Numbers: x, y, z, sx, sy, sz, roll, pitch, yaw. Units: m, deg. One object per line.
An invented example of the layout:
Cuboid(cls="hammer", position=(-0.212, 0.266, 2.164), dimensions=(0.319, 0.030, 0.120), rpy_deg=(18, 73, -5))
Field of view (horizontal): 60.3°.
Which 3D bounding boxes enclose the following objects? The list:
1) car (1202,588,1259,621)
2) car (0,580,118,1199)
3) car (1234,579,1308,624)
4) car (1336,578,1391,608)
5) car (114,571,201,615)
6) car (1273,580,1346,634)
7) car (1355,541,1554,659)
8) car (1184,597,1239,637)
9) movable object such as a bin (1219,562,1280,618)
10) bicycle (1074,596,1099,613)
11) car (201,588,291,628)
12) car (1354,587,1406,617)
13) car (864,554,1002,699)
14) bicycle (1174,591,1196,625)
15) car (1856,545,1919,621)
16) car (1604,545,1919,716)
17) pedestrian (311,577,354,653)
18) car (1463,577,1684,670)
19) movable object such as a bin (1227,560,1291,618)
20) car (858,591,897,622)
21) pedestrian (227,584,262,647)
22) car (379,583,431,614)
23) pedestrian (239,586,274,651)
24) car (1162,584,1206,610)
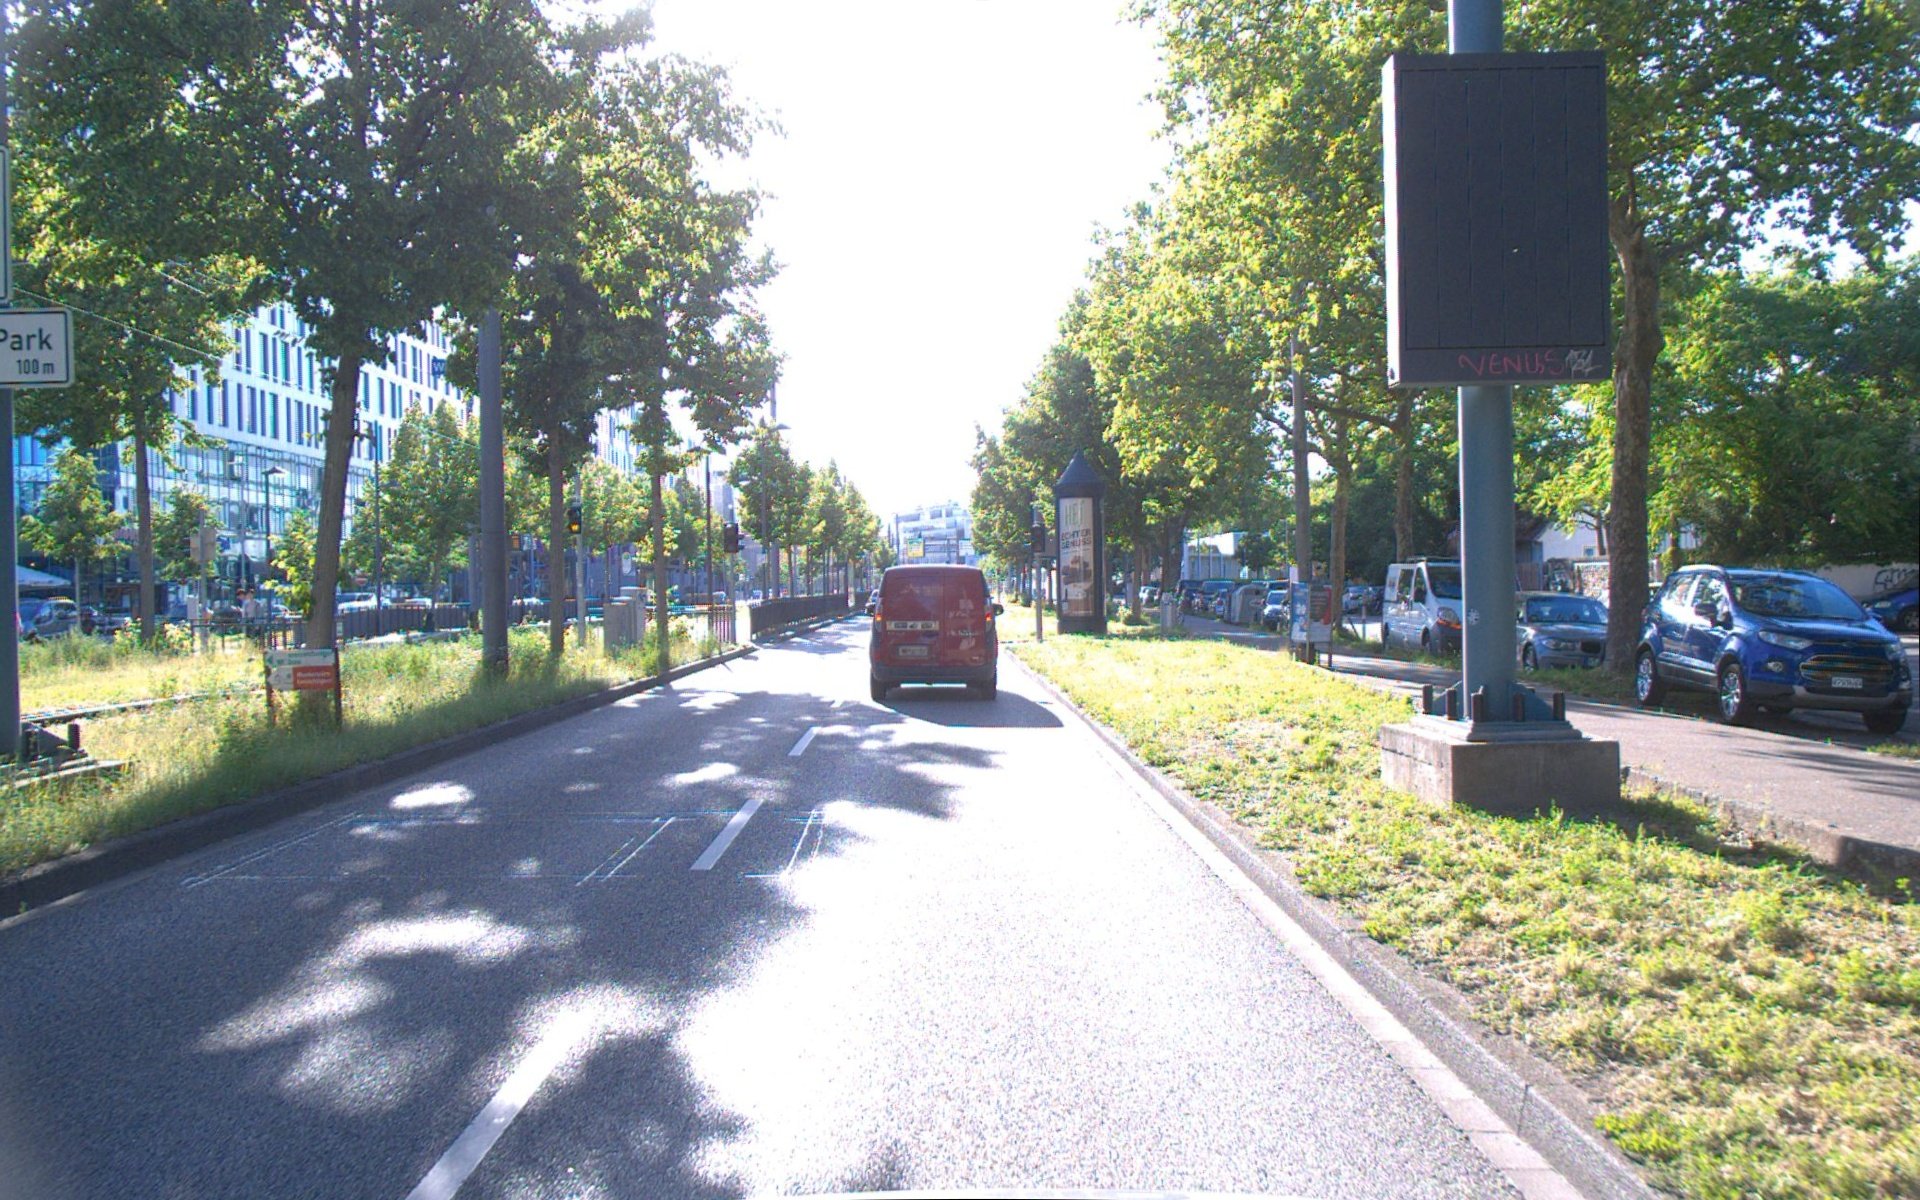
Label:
Cuboid(cls="car", position=(12.063, 0.215, 73.911), dimensions=(1.833, 1.413, 3.999), rpy_deg=(1, 0, -1))
Cuboid(cls="car", position=(-2.815, 0.728, 1.140), dimensions=(1.913, 1.506, 5.084), rpy_deg=(0, 1, -1))
Cuboid(cls="car", position=(10.344, 0.046, 55.293), dimensions=(1.957, 1.408, 4.747), rpy_deg=(1, 0, 5))
Cuboid(cls="car", position=(21.684, -0.358, 89.096), dimensions=(1.833, 1.509, 4.691), rpy_deg=(-3, 0, 1))
Cuboid(cls="car", position=(-39.413, -0.339, 81.360), dimensions=(1.952, 2.049, 4.563), rpy_deg=(1, 0, 0))
Cuboid(cls="car", position=(10.383, 0.207, 49.313), dimensions=(1.627, 1.527, 2.990), rpy_deg=(1, 0, 2))
Cuboid(cls="car", position=(9.384, -0.005, 31.965), dimensions=(2.145, 2.049, 5.820), rpy_deg=(1, 0, 1))
Cuboid(cls="car", position=(12.063, 0.777, 79.528), dimensions=(1.833, 1.852, 4.892), rpy_deg=(1, 0, -1))
Cuboid(cls="movable object such as a bin", position=(10.962, -0.372, 62.748), dimensions=(2.038, 2.049, 2.137), rpy_deg=(1, 0, 3))
Cuboid(cls="bicycle", position=(9.767, 0.344, 128.057), dimensions=(1.878, 1.290, 0.479), rpy_deg=(0, 0, 0))
Cuboid(cls="car", position=(-31.473, 0.354, 73.065), dimensions=(1.952, 1.701, 4.611), rpy_deg=(1, 0, 0))
Cuboid(cls="car", position=(21.242, 0.109, 83.746), dimensions=(1.695, 1.395, 4.315), rpy_deg=(-3, 0, 3))
Cuboid(cls="car", position=(-0.464, 0.351, 23.569), dimensions=(1.773, 1.870, 3.997), rpy_deg=(1, 0, -4))
Cuboid(cls="bicycle", position=(7.248, 0.264, 53.367), dimensions=(0.482, 1.065, 1.904), rpy_deg=(1, 0, 1))
Cuboid(cls="car", position=(25.187, -0.403, 41.895), dimensions=(3.999, 1.883, 1.849), rpy_deg=(1, 0, 0))
Cuboid(cls="car", position=(8.897, 0.304, 18.547), dimensions=(1.701, 1.670, 4.353), rpy_deg=(1, 0, 1))
Cuboid(cls="pedestrian", position=(-15.615, 0.371, 41.182), dimensions=(0.804, 1.868, 0.726), rpy_deg=(1, 0, -3))
Cuboid(cls="car", position=(9.366, 0.340, 25.626), dimensions=(1.952, 1.312, 4.053), rpy_deg=(1, 0, 1))
Cuboid(cls="movable object such as a bin", position=(10.823, -0.386, 59.983), dimensions=(2.038, 2.049, 2.137), rpy_deg=(1, 0, 3))
Cuboid(cls="car", position=(-4.469, 0.368, 90.250), dimensions=(1.953, 1.646, 3.999), rpy_deg=(1, 0, -1))
Cuboid(cls="pedestrian", position=(-17.448, 0.383, 40.336), dimensions=(0.531, 1.523, 0.603), rpy_deg=(1, 0, 3))
Cuboid(cls="car", position=(-38.285, -0.113, 114.168), dimensions=(1.952, 2.049, 4.563), rpy_deg=(1, 0, 0))
Cuboid(cls="pedestrian", position=(-16.906, 0.434, 39.729), dimensions=(0.538, 1.545, 0.589), rpy_deg=(1, 0, 4))
Cuboid(cls="car", position=(12.457, -0.153, 92.077), dimensions=(1.833, 1.391, 3.999), rpy_deg=(1, 0, -1))
